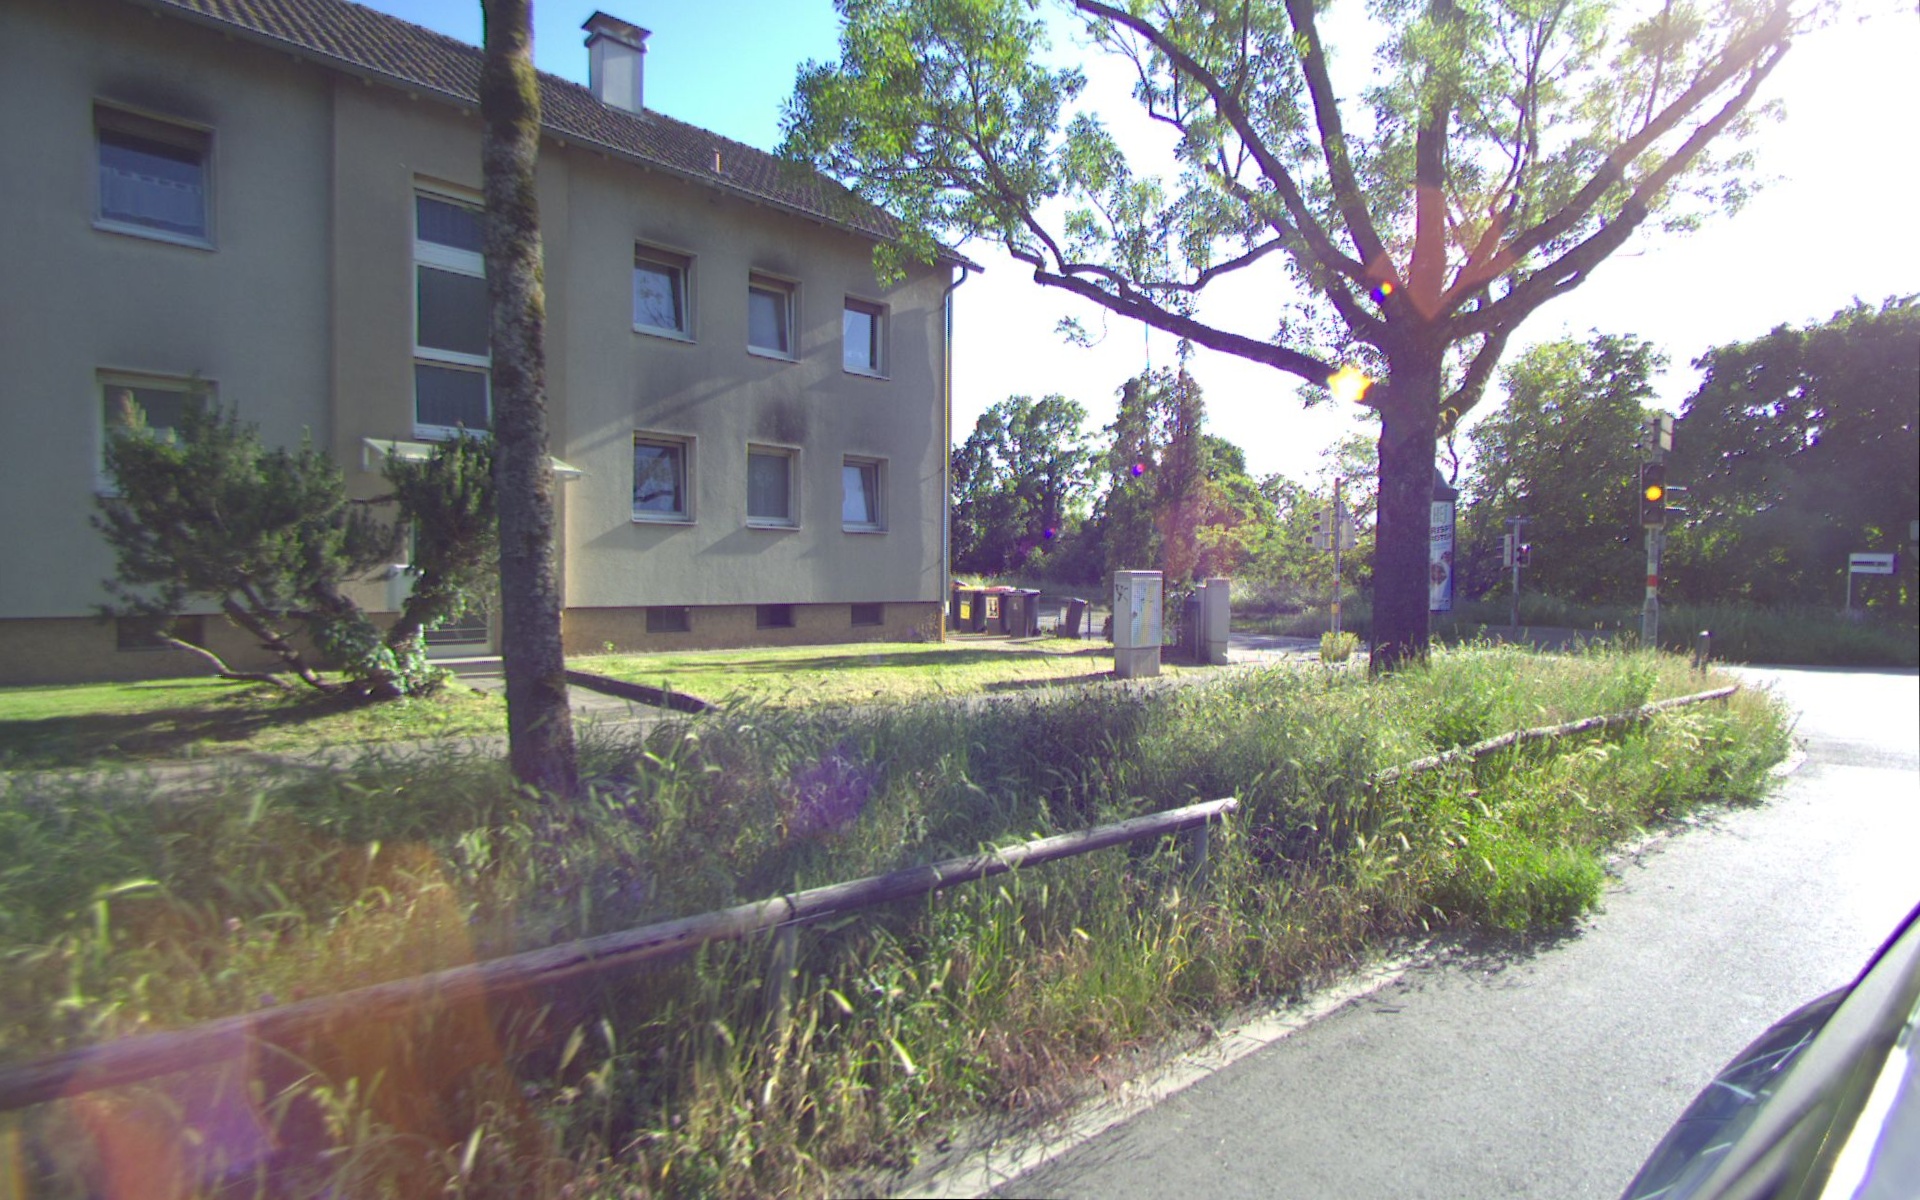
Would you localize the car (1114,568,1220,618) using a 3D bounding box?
[{"bbox_3d":[8.058,-0.292,39.167,4.377,1.670,1.864,-5,3,-44],"label":"car"}]
